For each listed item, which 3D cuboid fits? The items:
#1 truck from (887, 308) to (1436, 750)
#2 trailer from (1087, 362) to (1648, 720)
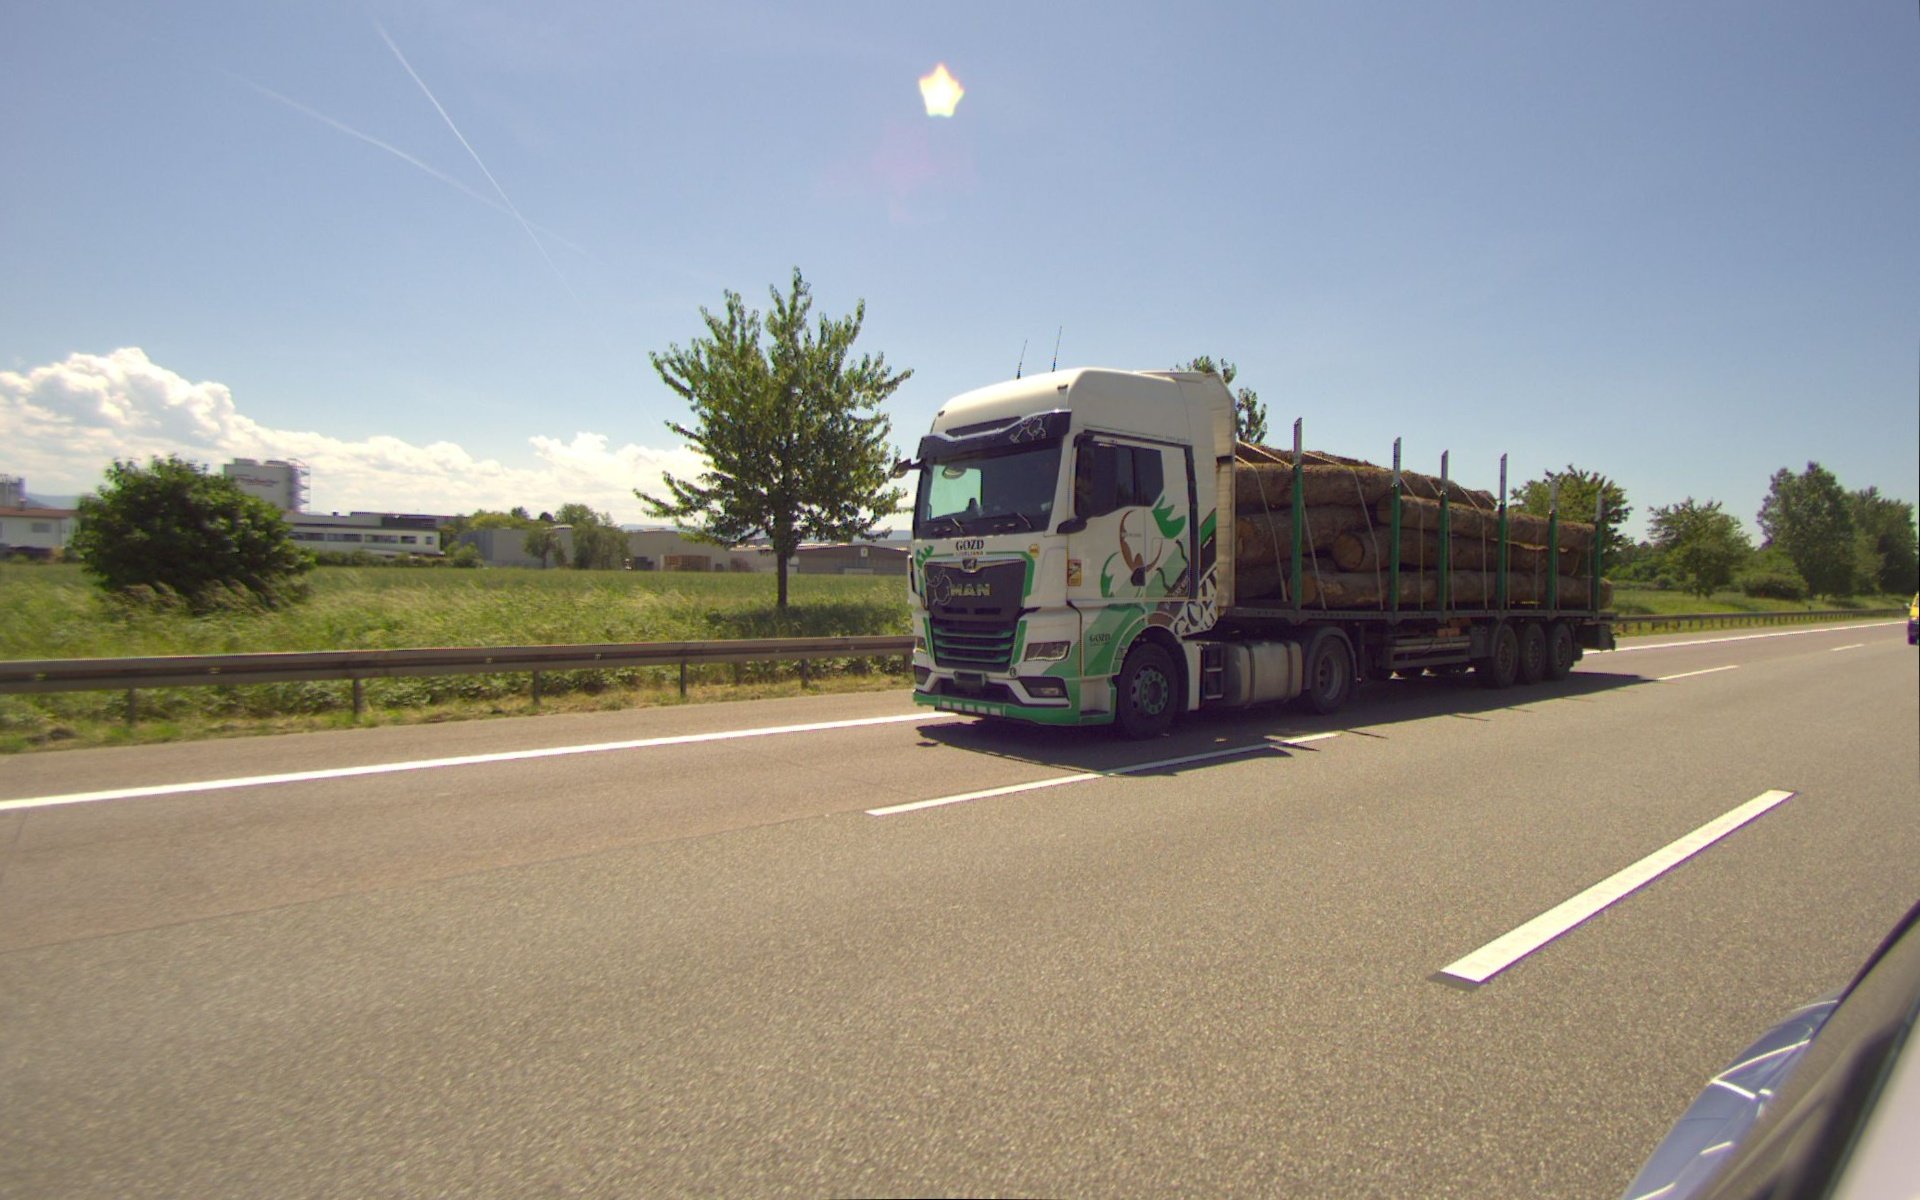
[{"bbox_3d":[2.915,-0.668,12.701,7.568,4.016,2.698,0,0,-41],"label":"truck"},{"bbox_3d":[7.740,-0.702,16.864,13.716,4.016,2.698,0,0,-41],"label":"trailer"}]
